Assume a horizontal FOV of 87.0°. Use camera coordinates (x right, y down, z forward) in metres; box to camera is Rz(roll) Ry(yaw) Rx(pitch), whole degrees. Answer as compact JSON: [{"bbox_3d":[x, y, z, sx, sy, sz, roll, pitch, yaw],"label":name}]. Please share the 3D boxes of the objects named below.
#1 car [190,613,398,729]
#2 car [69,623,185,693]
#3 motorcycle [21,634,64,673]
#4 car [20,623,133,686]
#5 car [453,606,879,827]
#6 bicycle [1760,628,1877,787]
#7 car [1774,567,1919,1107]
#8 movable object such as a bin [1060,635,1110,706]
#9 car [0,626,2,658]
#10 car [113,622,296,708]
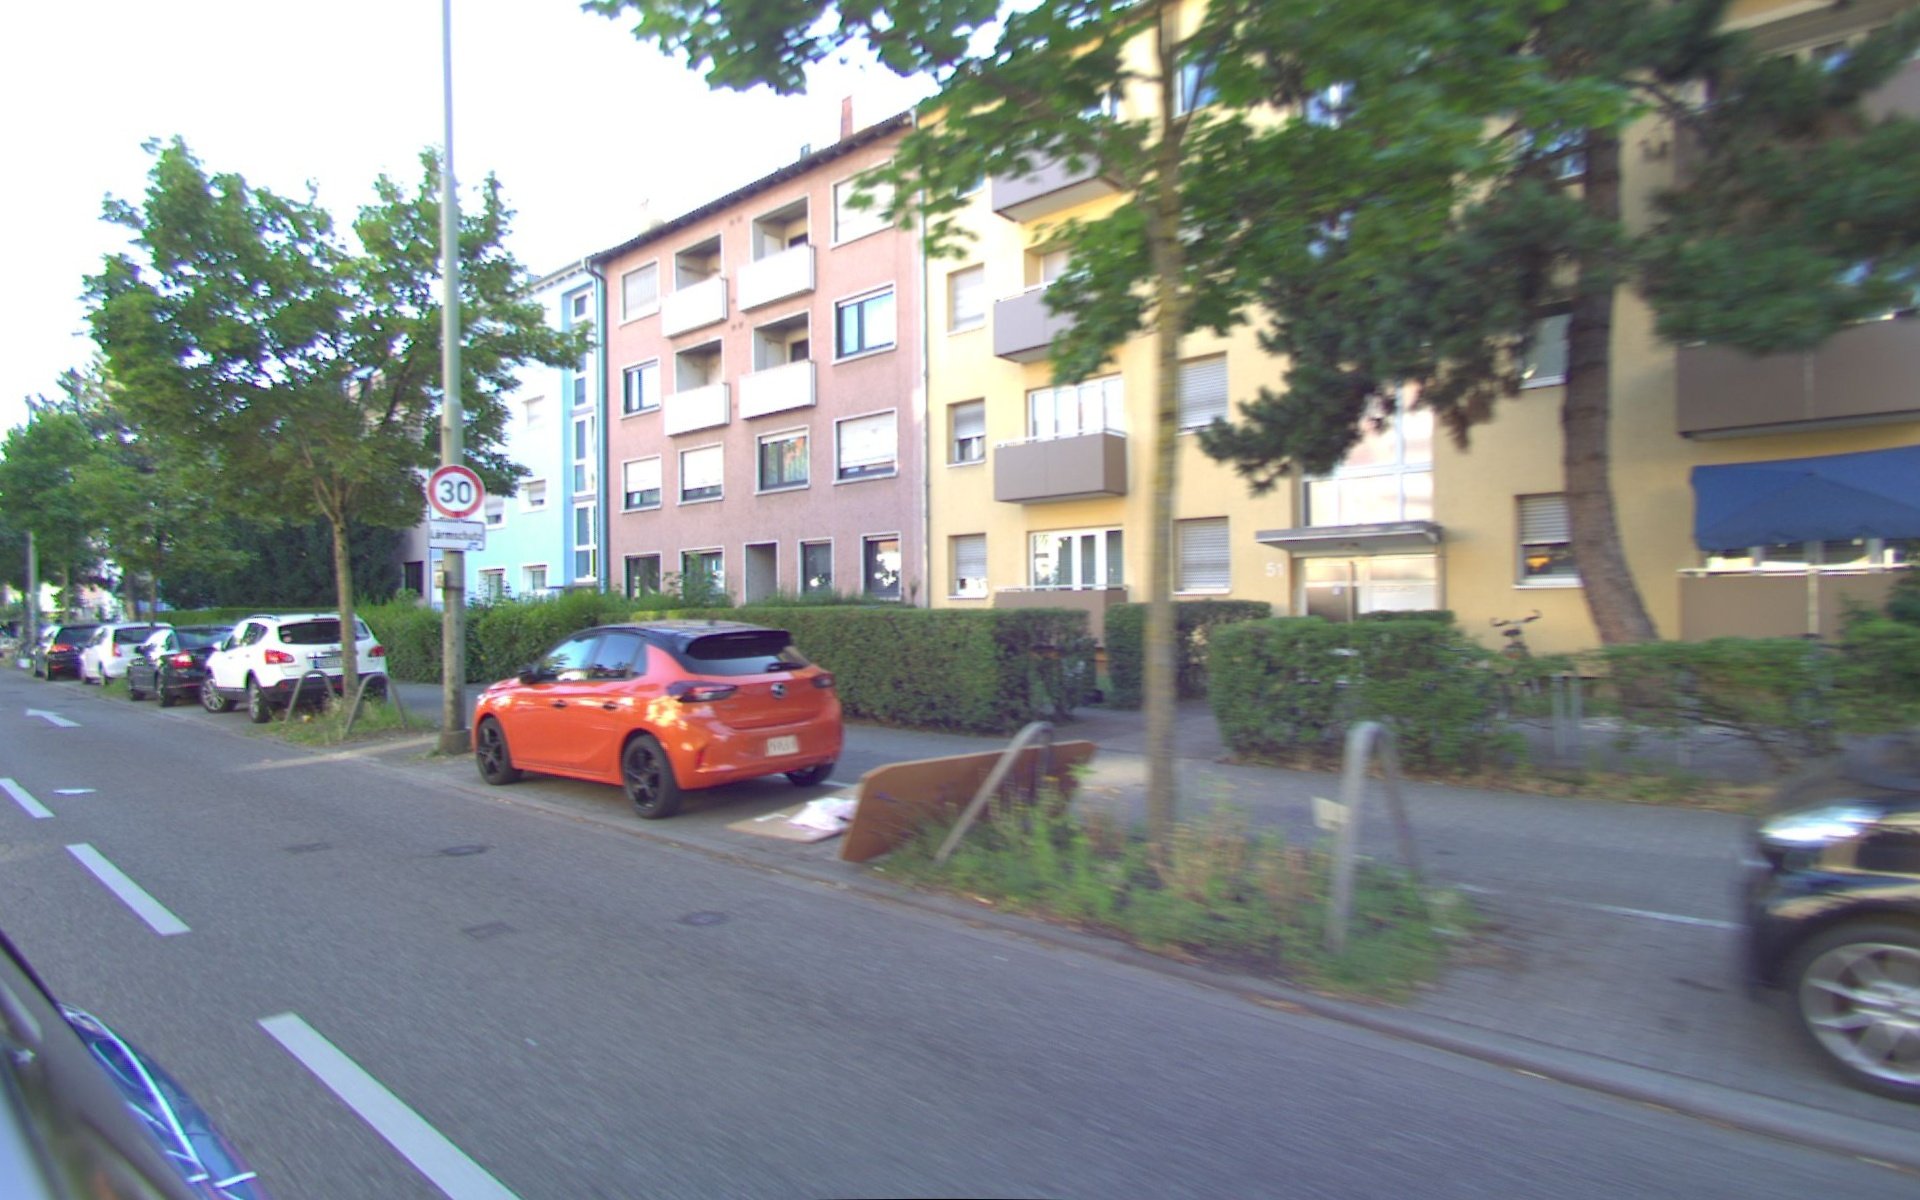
[{"bbox_3d":[-10.803,1.048,16.307,4.184,1.600,1.758,-1,0,42],"label":"car"},{"bbox_3d":[-20.231,1.343,24.540,3.639,1.503,1.575,-1,0,41],"label":"car"},{"bbox_3d":[-29.217,1.680,32.216,2.170,1.145,0.632,-1,1,39],"label":"motorcycle"},{"bbox_3d":[-24.251,1.428,27.736,4.314,1.529,1.818,-1,0,42],"label":"car"},{"bbox_3d":[-2.691,0.840,8.800,3.921,1.463,1.699,-2,0,41],"label":"car"},{"bbox_3d":[6.427,0.729,7.547,0.582,0.932,1.915,-2,1,42],"label":"bicycle"},{"bbox_3d":[4.033,0.656,2.723,2.761,1.560,1.388,-2,1,43],"label":"car"},{"bbox_3d":[1.715,0.954,13.878,0.445,0.932,0.575,-2,-1,39],"label":"movable object such as a bin"},{"bbox_3d":[-45.420,1.964,46.600,3.881,1.454,1.662,-2,0,43],"label":"car"},{"bbox_3d":[-14.791,1.172,19.728,4.456,1.459,1.973,-1,-1,41],"label":"car"}]
